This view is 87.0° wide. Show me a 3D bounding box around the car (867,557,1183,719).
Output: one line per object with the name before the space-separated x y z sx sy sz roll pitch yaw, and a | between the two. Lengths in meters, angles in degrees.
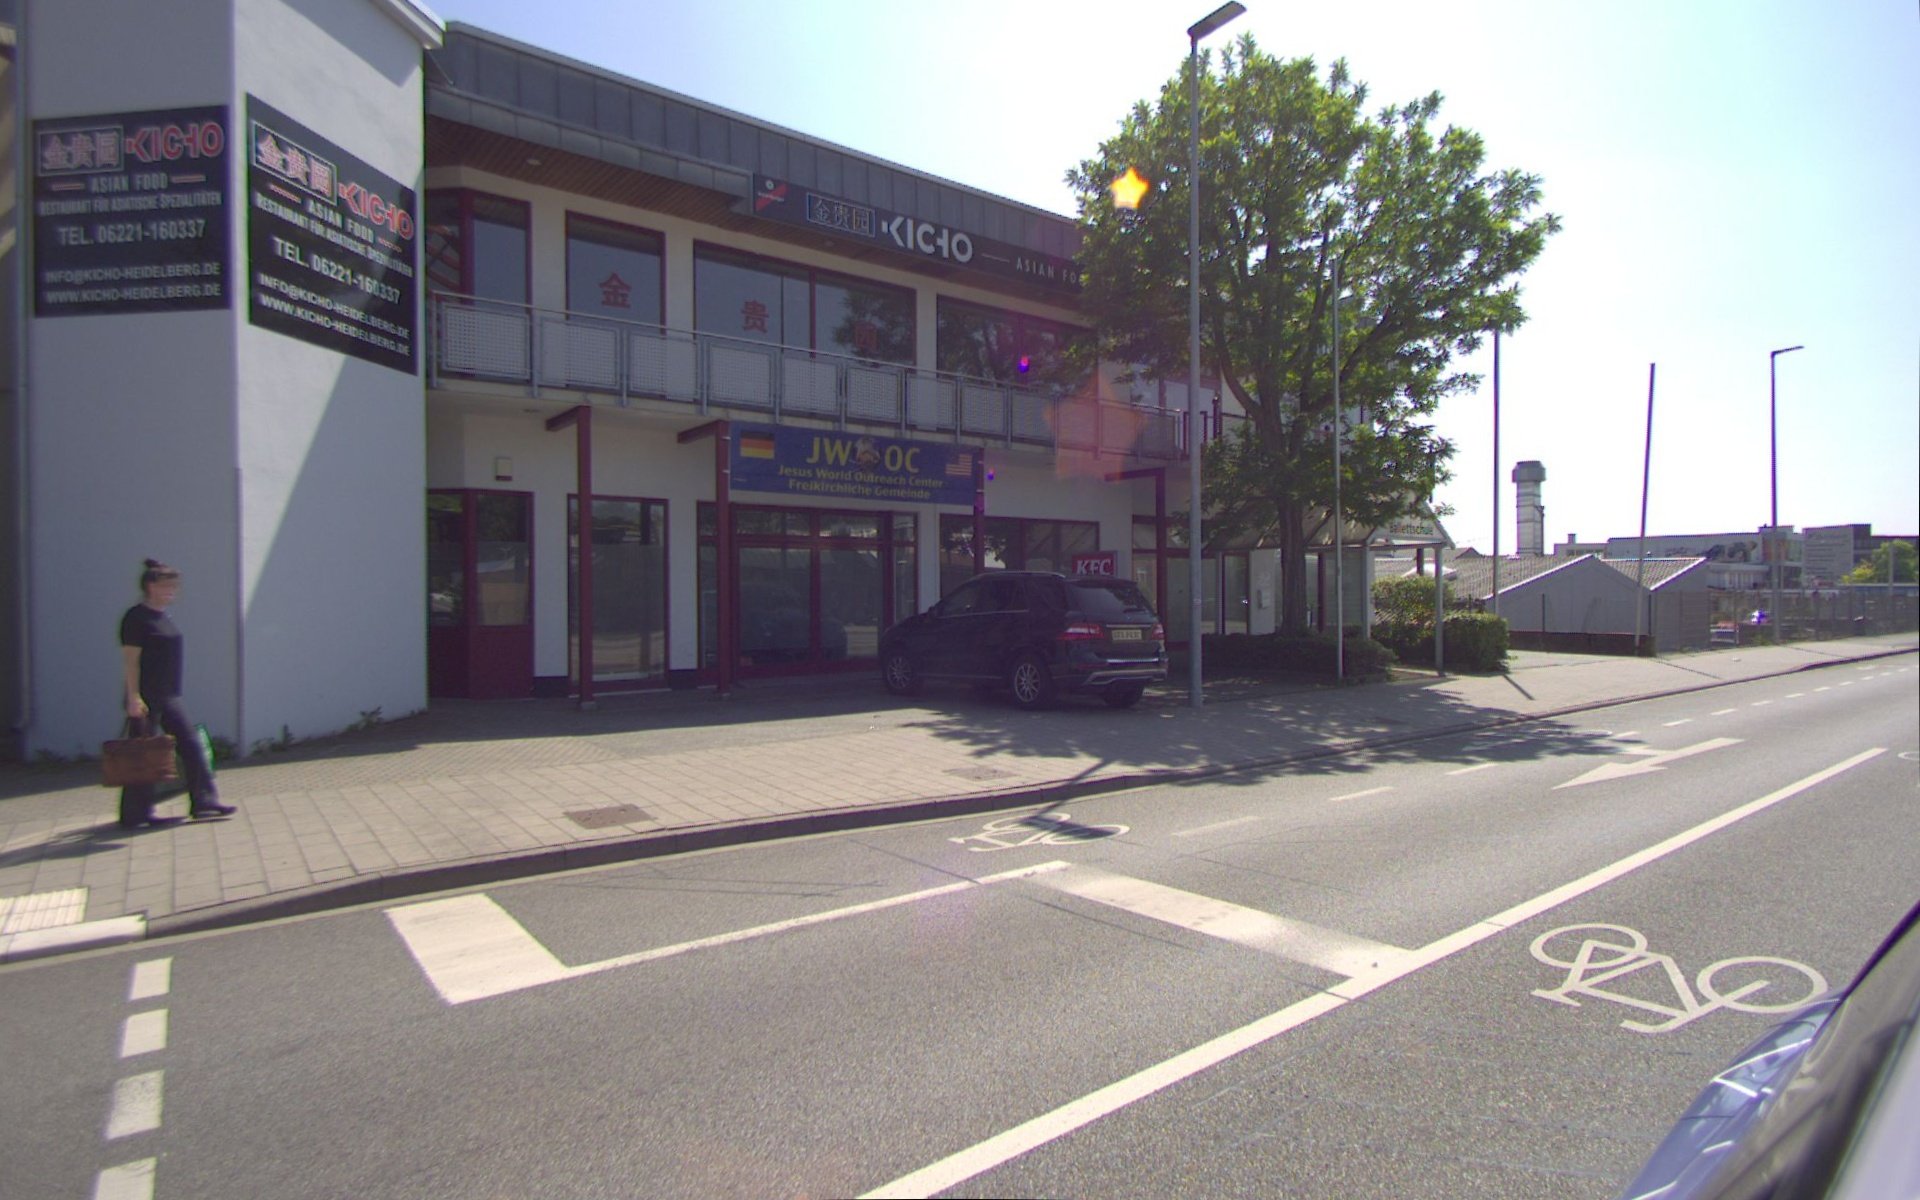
car | 0.711 0.412 14.126 1.776 1.879 4.655 0 0 -38

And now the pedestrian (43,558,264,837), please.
pedestrian | -5.082 0.579 6.426 0.826 1.666 0.733 0 0 2
